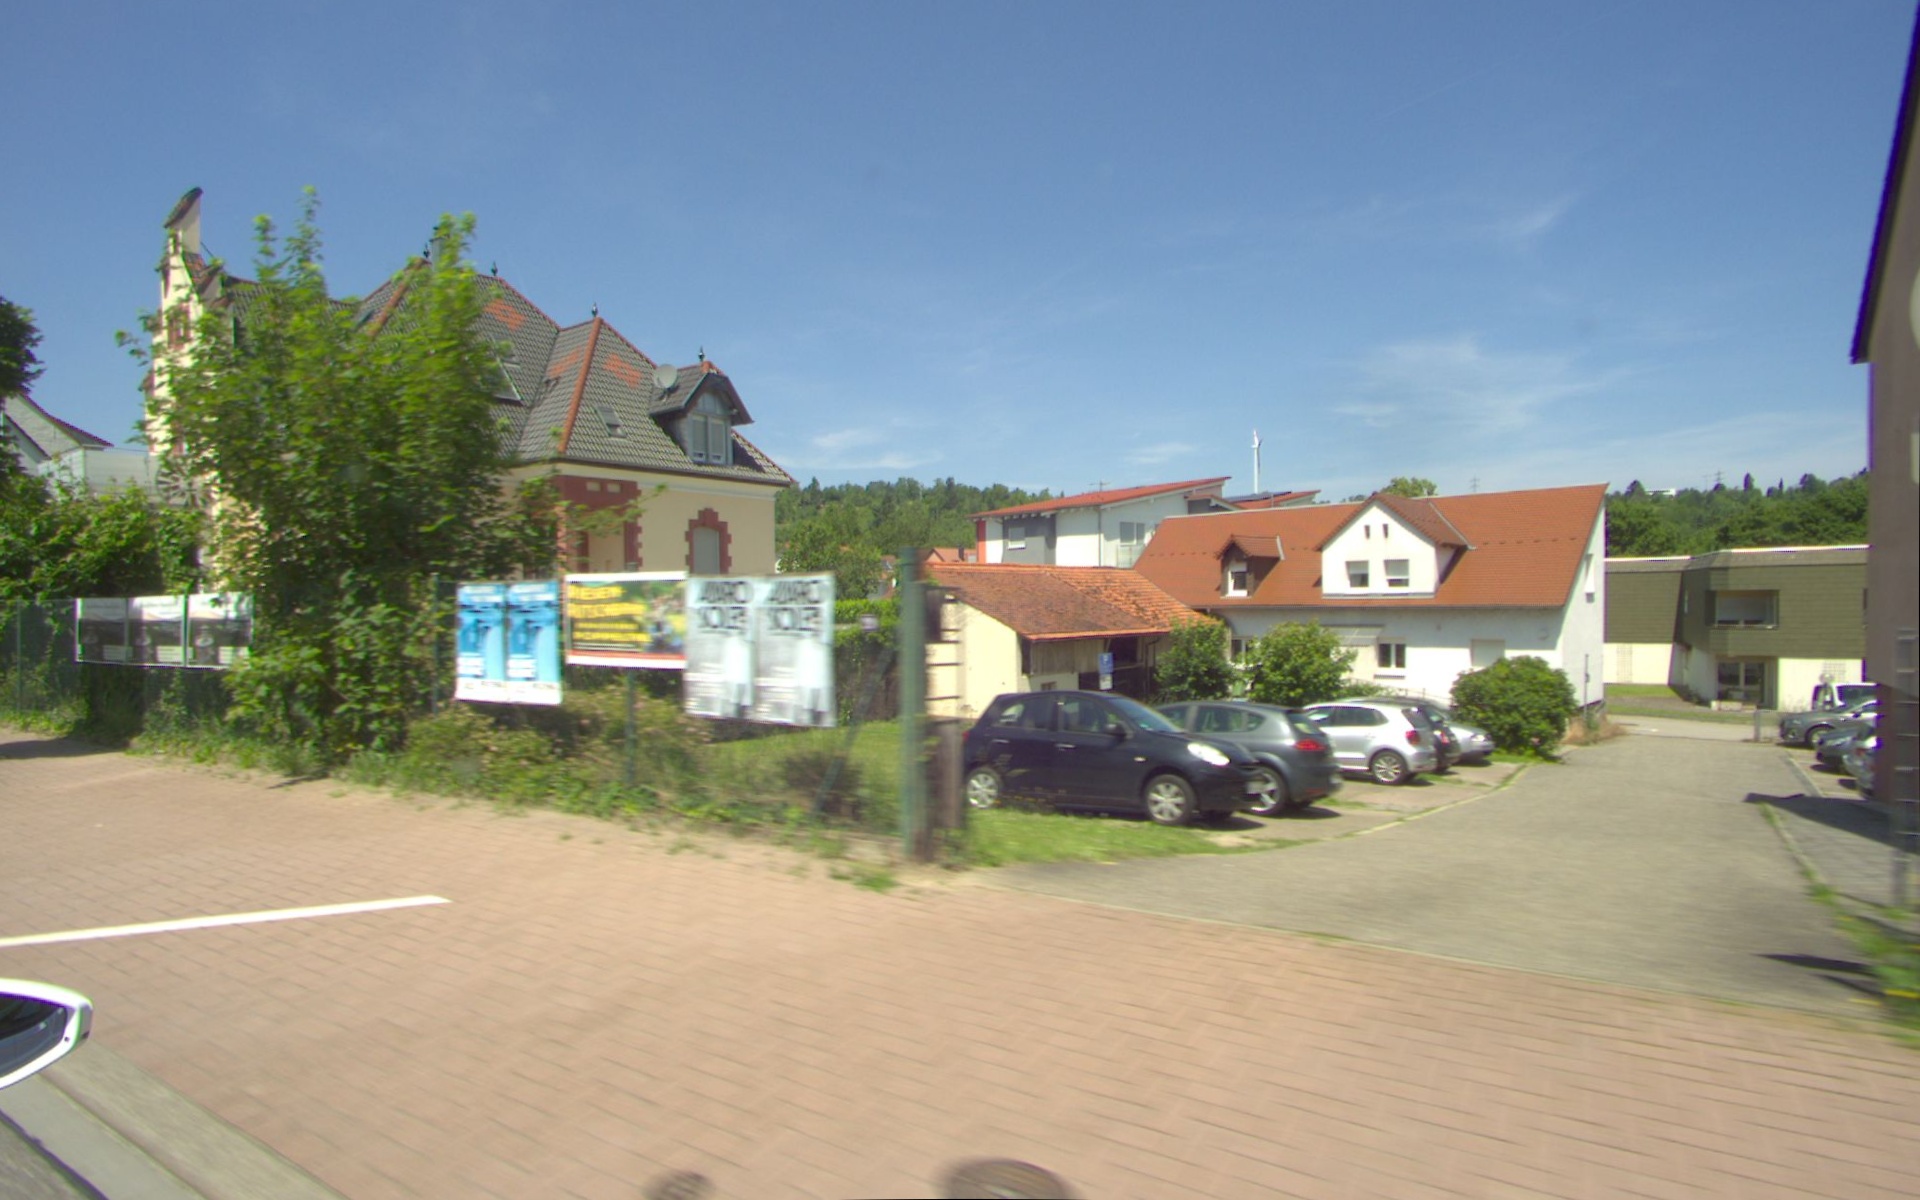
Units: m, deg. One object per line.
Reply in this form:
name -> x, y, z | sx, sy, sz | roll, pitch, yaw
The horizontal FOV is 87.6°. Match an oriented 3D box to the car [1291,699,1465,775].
car -> 8.963, 2.910, 21.557 | 3.248, 1.490, 1.322 | -3, -7, 34

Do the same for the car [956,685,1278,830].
car -> 1.845, 1.831, 12.047 | 3.523, 1.488, 1.492 | -3, -10, 34

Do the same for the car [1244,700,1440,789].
car -> 7.166, 2.674, 18.891 | 3.248, 1.490, 1.322 | -3, -7, 34

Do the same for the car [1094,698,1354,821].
car -> 3.572, 2.127, 13.867 | 3.259, 1.489, 1.317 | -5, -9, 43

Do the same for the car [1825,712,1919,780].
car -> 23.485, 3.582, 24.430 | 3.490, 1.459, 1.737 | -2, -2, 38

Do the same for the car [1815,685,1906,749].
car -> 28.625, 3.656, 31.938 | 1.693, 1.850, 3.979 | -1, -4, 36

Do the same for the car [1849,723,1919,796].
car -> 22.277, 3.624, 22.394 | 3.493, 1.459, 1.735 | -2, -2, 40

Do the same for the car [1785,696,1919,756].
car -> 25.883, 3.583, 28.616 | 3.490, 1.459, 1.542 | -2, -2, 38

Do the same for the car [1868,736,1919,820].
car -> 20.017, 3.544, 19.407 | 3.493, 1.459, 1.735 | -2, -2, 40

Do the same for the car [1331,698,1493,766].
car -> 10.739, 3.114, 23.886 | 3.337, 1.490, 1.322 | -3, -7, 34
